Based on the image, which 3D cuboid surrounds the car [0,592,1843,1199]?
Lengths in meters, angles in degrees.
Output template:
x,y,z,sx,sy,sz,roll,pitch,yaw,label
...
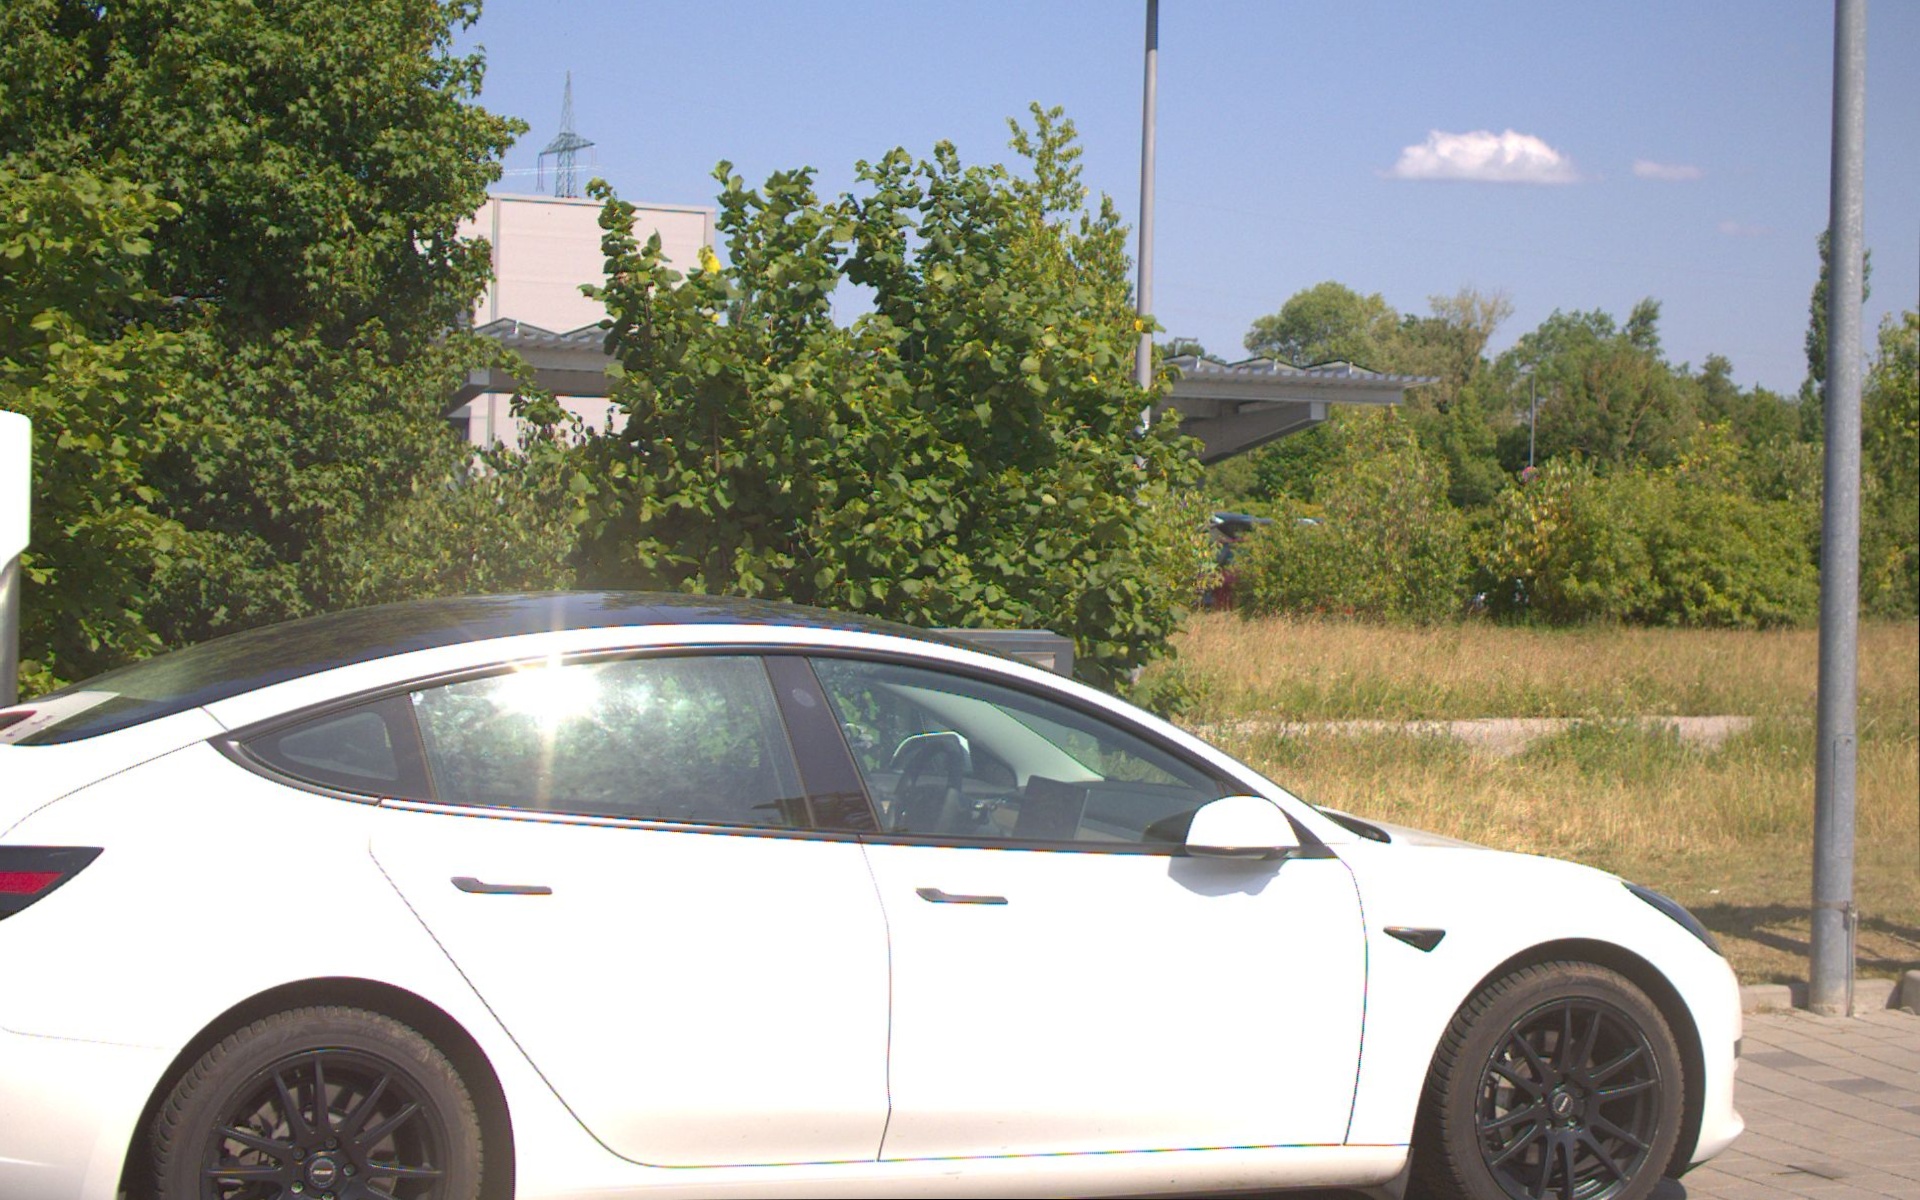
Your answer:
x,y,z,sx,sy,sz,roll,pitch,yaw,label
-0.382,0.710,7.986,4.433,1.373,1.823,0,2,-20,car
